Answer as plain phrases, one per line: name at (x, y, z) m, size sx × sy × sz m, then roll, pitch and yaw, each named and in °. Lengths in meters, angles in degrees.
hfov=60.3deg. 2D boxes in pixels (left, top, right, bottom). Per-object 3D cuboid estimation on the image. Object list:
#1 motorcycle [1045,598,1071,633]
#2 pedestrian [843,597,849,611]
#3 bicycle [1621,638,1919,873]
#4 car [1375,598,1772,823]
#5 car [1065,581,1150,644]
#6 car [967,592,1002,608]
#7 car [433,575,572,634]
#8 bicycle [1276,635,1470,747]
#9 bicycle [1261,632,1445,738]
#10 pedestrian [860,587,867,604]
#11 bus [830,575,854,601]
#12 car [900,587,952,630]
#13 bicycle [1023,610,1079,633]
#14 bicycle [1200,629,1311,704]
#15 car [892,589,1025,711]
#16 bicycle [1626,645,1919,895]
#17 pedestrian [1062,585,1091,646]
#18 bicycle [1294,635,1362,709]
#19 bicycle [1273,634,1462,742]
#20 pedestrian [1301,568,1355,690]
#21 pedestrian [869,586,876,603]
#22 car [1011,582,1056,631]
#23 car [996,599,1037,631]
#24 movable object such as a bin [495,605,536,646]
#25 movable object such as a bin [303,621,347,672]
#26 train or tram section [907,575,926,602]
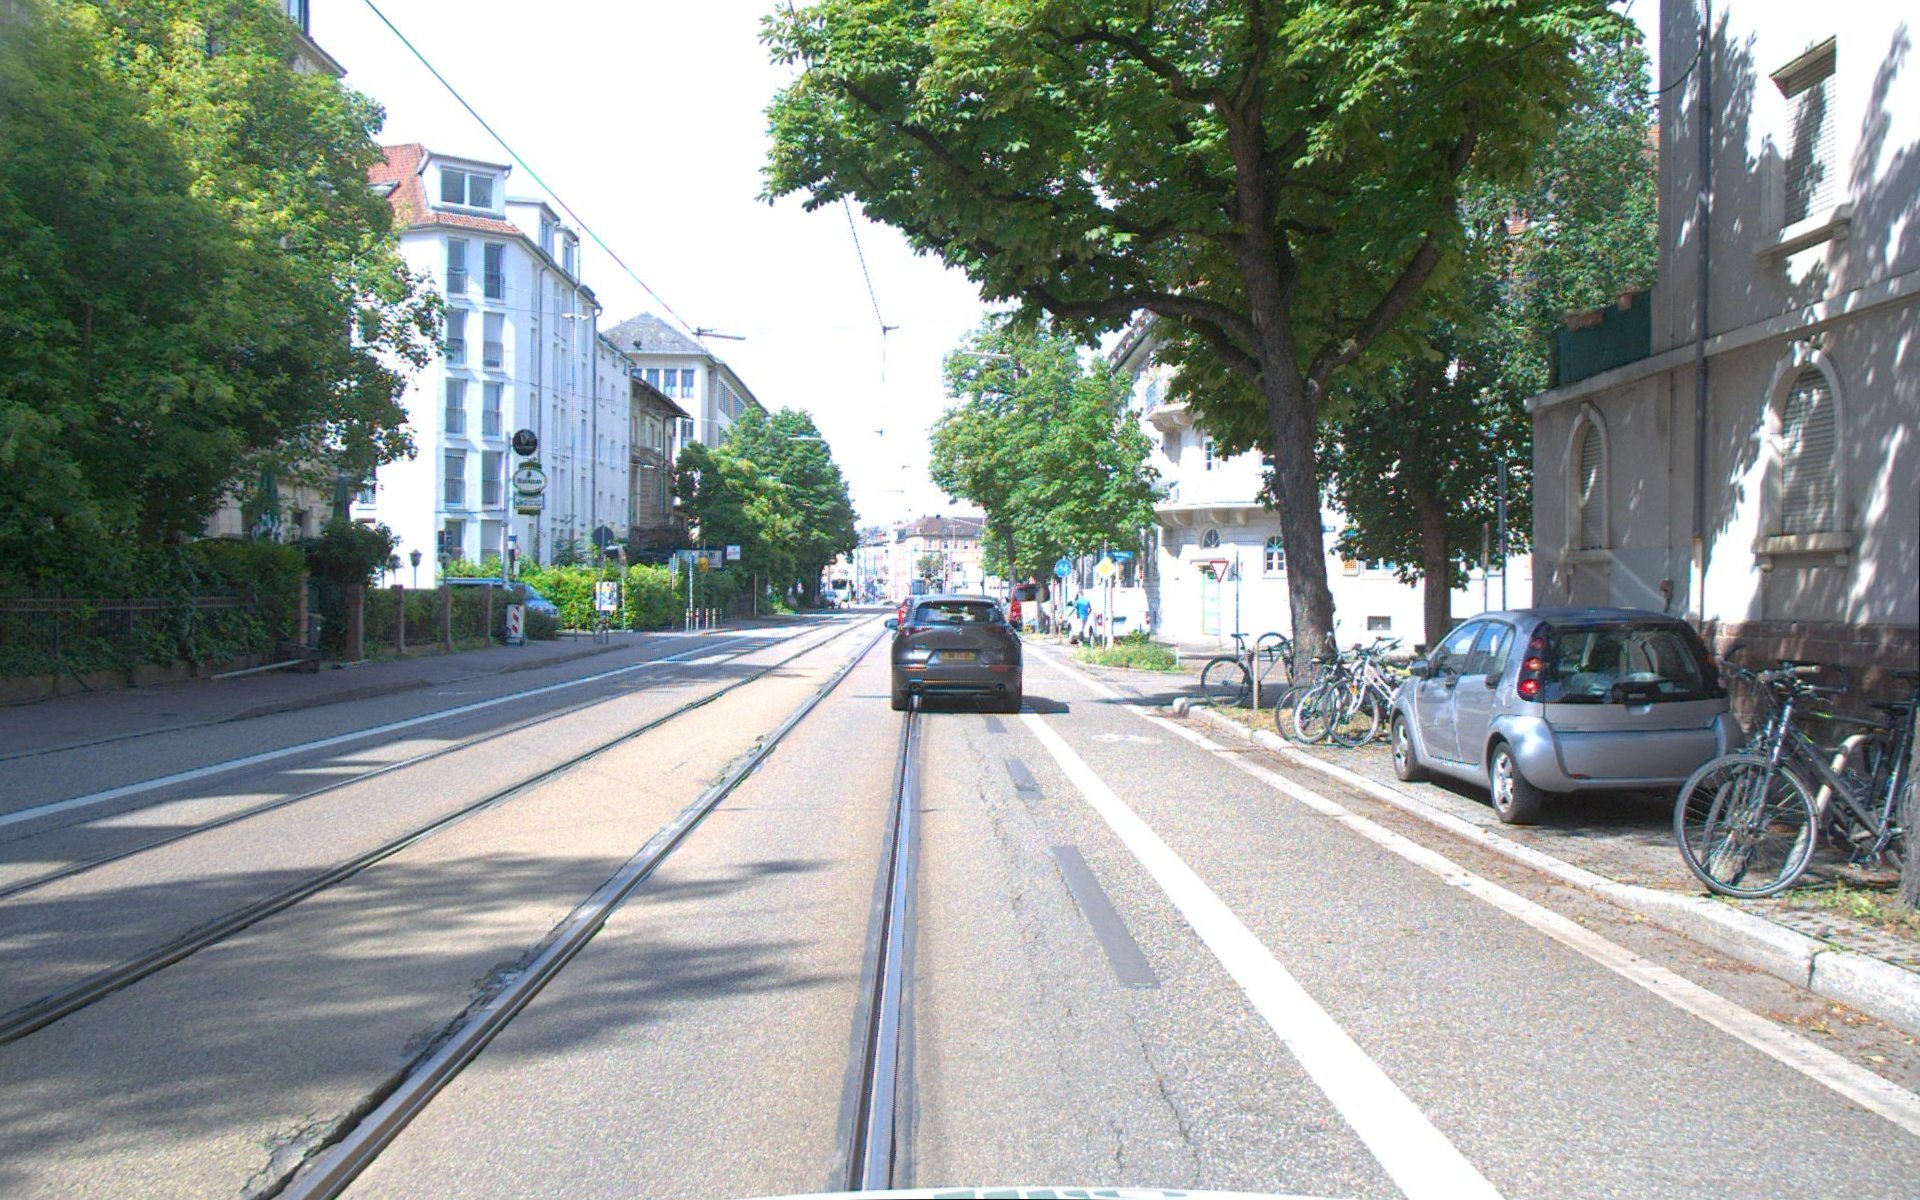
motorcycle at (3.780, 0.595, 63.790) m, size 0.778 × 1.293 × 2.421 m, roll 1°, pitch 0°, yaw -2°
pedestrian at (-12.711, 0.423, 184.424) m, size 0.736 × 1.537 × 0.823 m, roll 1°, pitch 0°, yaw -6°
bicycle at (4.561, 0.806, 8.813) m, size 1.853 × 1.196 × 0.513 m, roll 0°, pitch -1°, yaw 10°
car at (4.588, 0.738, 12.972) m, size 1.632 × 1.455 × 3.765 m, roll -1°, pitch 0°, yaw -1°
car at (4.791, 0.382, 54.513) m, size 1.753 × 1.972 × 4.983 m, roll 1°, pitch 1°, yaw -7°
car at (2.905, -0.011, 196.634) m, size 3.749 × 1.646 × 1.628 m, roll 3°, pitch 0°, yaw -20°
car at (-16.637, 0.143, 60.165) m, size 4.566 × 2.049 × 2.047 m, roll 1°, pitch 0°, yaw 21°
bicycle at (4.194, 0.923, 16.832) m, size 1.865 × 1.091 × 0.402 m, roll 1°, pitch 0°, yaw -1°
bicycle at (4.191, 0.905, 17.675) m, size 1.865 × 1.091 × 0.402 m, roll 1°, pitch 0°, yaw -1°
pedestrian at (-12.165, -0.580, 208.918) m, size 0.867 × 2.049 × 0.617 m, roll 1°, pitch 0°, yaw -5°
bus at (-16.460, -1.648, 230.482) m, size 2.637 × 3.480 × 11.000 m, roll 3°, pitch 0°, yaw -7°
car at (-1.381, 0.330, 66.254) m, size 1.953 × 1.555 × 3.999 m, roll 3°, pitch 0°, yaw -2°
bicycle at (3.730, 0.883, 67.677) m, size 2.229 × 0.876 × 0.671 m, roll 1°, pitch 0°, yaw -3°
bicycle at (3.985, 0.900, 22.321) m, size 1.460 × 1.000 × 0.259 m, roll 0°, pitch 0°, yaw 0°
car at (-0.070, 0.632, 23.061) m, size 1.686 × 1.553 × 3.588 m, roll 1°, pitch 0°, yaw -2°
bicycle at (4.404, 0.828, 8.292) m, size 1.895 × 1.196 × 0.513 m, roll 0°, pitch -1°, yaw 10°
pedestrian at (3.660, 0.467, 51.900) m, size 0.797 × 1.868 × 0.963 m, roll 1°, pitch 0°, yaw 9°
bicycle at (4.914, 0.947, 22.176) m, size 0.253 × 0.916 × 1.768 m, roll 0°, pitch 0°, yaw -10°
bicycle at (4.246, 0.914, 17.281) m, size 1.865 × 1.091 × 0.402 m, roll 1°, pitch 0°, yaw -1°
pedestrian at (5.733, 0.450, 25.766) m, size 0.598 × 1.868 × 0.878 m, roll 0°, pitch -2°, yaw -4°
pedestrian at (-11.074, -0.707, 208.912) m, size 0.867 × 2.049 × 0.617 m, roll 1°, pitch 0°, yaw -5°
car at (3.120, 0.259, 71.190) m, size 1.685 × 2.003 × 4.206 m, roll 1°, pitch 0°, yaw -1°
car at (2.653, 0.679, 78.572) m, size 1.686 × 1.449 × 3.588 m, roll 1°, pitch 0°, yaw -2°
movable object such as a bin at (-11.426, 0.650, 42.520) m, size 0.730 × 1.005 × 1.114 m, roll 3°, pitch 0°, yaw -2°
movable object such as a bin at (-11.519, 0.834, 30.017) m, size 0.551 × 0.891 × 0.616 m, roll 1°, pitch 0°, yaw -1°
train or tram section at (-6.220, -1.617, 239.054) m, size 2.519 × 3.838 × 13.023 m, roll 0°, pitch 0°, yaw -1°
